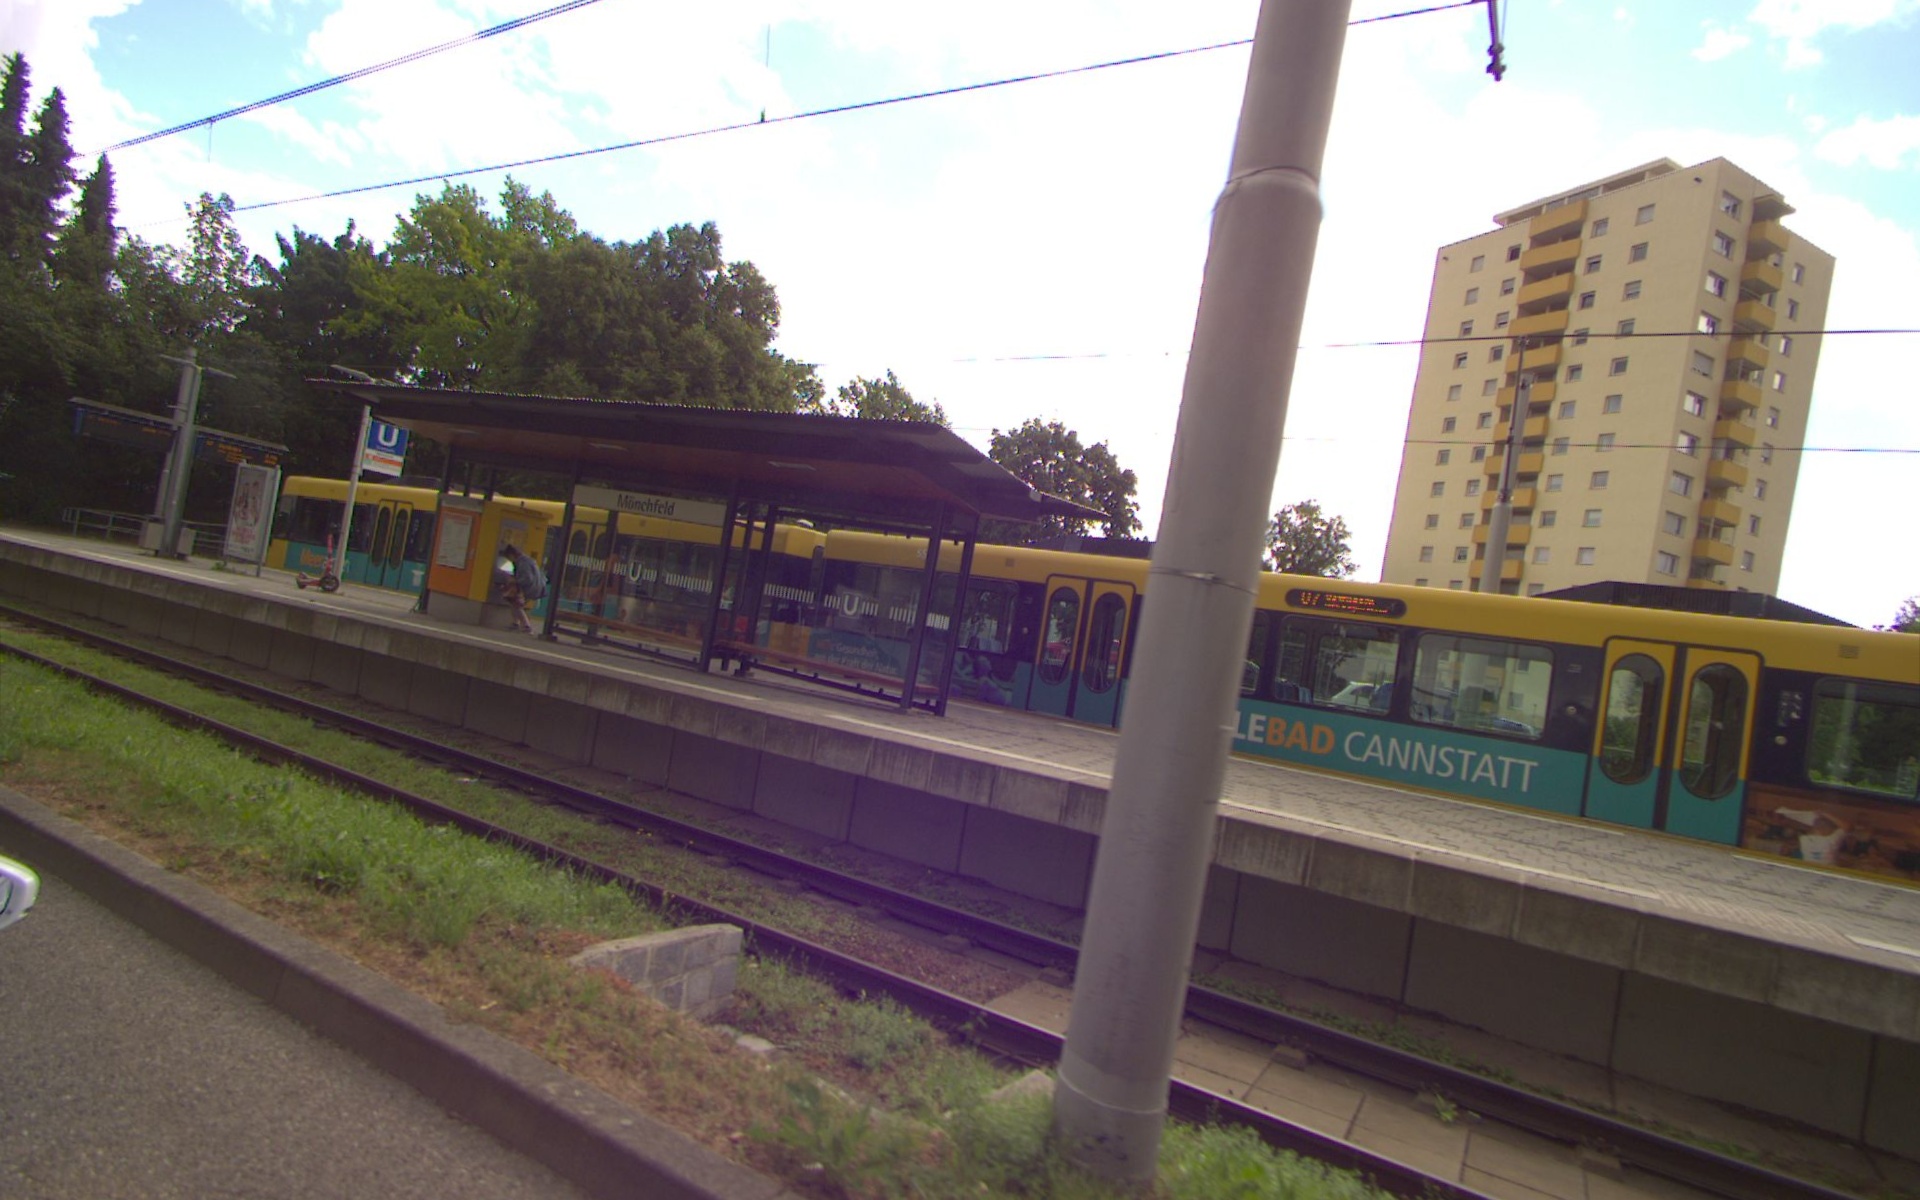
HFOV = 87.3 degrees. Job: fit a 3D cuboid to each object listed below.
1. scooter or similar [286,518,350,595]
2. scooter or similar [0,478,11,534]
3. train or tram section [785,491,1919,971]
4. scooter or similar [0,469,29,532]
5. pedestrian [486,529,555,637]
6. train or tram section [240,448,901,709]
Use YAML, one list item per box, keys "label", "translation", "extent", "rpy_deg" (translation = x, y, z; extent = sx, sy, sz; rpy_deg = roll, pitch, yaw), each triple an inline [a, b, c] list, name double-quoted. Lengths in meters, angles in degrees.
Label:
- label: "scooter or similar"
  translation: [-11.726, -0.796, 18.372]
  extent: [1.127, 1.256, 0.369]
  rpy_deg: [8, -1, 31]
- label: "scooter or similar"
  translation: [-22.871, -2.250, 23.473]
  extent: [1.231, 1.268, 0.431]
  rpy_deg: [6, -1, 19]
- label: "train or tram section"
  translation: [6.068, 1.300, 13.472]
  extent: [19.189, 3.777, 2.821]
  rpy_deg: [8, -3, 32]
- label: "scooter or similar"
  translation: [-20.825, -2.184, 21.746]
  extent: [1.232, 1.268, 0.431]
  rpy_deg: [6, -1, 22]
- label: "pedestrian"
  translation: [-6.917, -0.275, 15.824]
  extent: [0.621, 1.591, 0.657]
  rpy_deg: [9, -1, -42]
- label: "train or tram section"
  translation: [-10.304, -0.979, 23.523]
  extent: [19.184, 3.627, 2.822]
  rpy_deg: [8, -3, 31]
